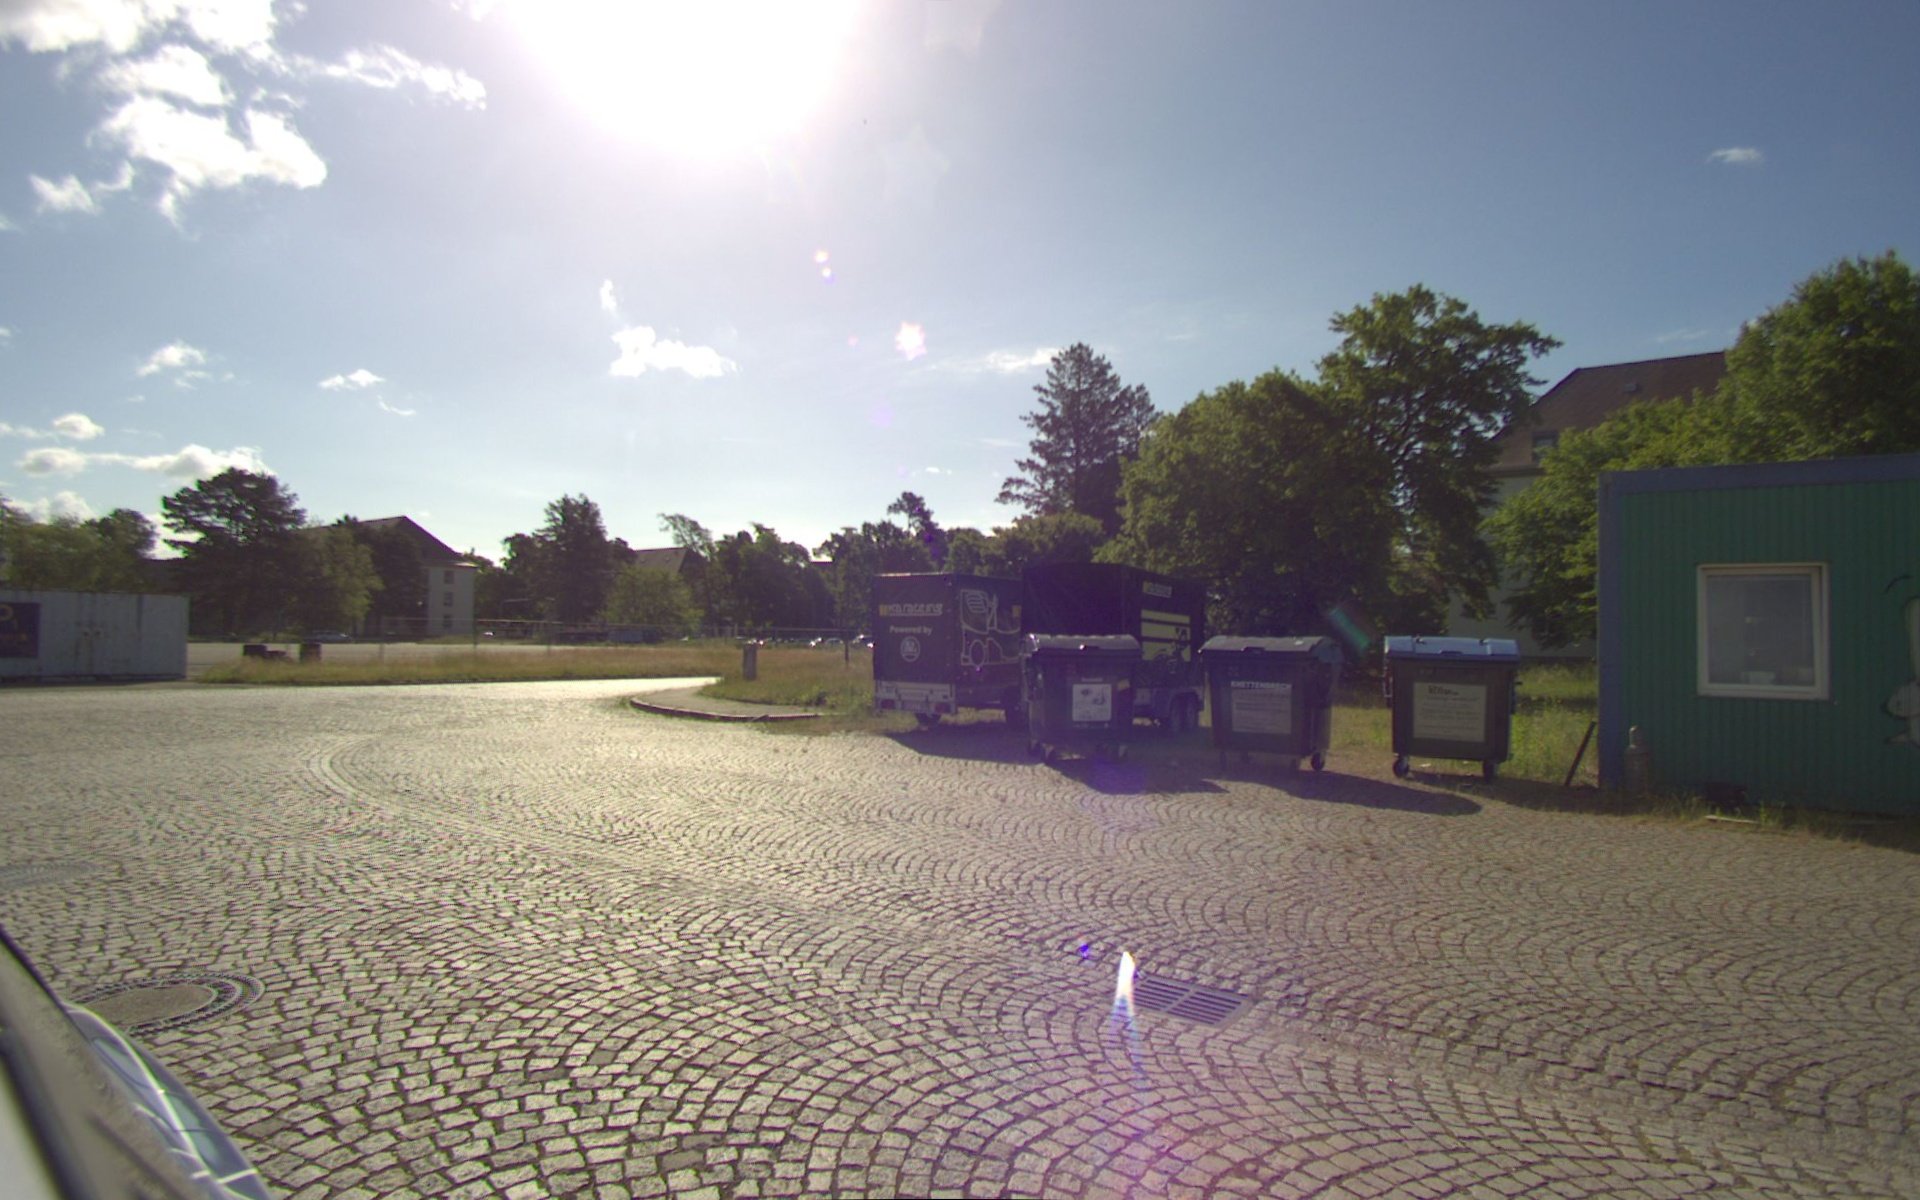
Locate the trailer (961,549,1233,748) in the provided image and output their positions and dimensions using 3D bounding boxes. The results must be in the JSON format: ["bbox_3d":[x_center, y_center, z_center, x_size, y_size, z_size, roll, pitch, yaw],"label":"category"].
[{"bbox_3d":[2.206,0.694,14.740,2.089,2.373,4.921,-1,-3,32],"label":"trailer"}]

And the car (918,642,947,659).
[{"bbox_3d":[-3.403,6.259,125.493,1.739,2.029,3.577,-1,-3,35],"label":"car"}]

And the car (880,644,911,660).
[{"bbox_3d":[-8.244,6.658,130.282,1.995,2.029,3.954,-1,-3,34],"label":"car"}]

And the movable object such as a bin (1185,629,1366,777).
[{"bbox_3d":[3.395,1.043,10.878,1.533,1.433,1.284,-1,-3,37],"label":"movable object such as a bin"}]

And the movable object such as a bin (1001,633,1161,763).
[{"bbox_3d":[1.352,1.095,11.691,1.511,1.397,1.388,1,-3,-8],"label":"movable object such as a bin"}]

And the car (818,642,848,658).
[{"bbox_3d":[-16.965,6.653,135.337,1.740,2.029,3.803,-1,-3,37],"label":"car"}]

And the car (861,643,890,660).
[{"bbox_3d":[-10.882,6.625,130.492,1.739,2.029,3.806,-1,-3,35],"label":"car"}]

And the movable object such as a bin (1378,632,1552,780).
[{"bbox_3d":[5.231,1.048,10.628,1.526,1.397,1.375,0,-3,24],"label":"movable object such as a bin"}]

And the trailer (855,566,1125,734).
[{"bbox_3d":[0.650,0.796,16.430,2.133,2.315,4.612,-1,-3,37],"label":"trailer"}]

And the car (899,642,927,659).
[{"bbox_3d":[-5.849,6.368,126.880,1.739,2.029,3.577,-1,-3,35],"label":"car"}]

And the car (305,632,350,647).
[{"bbox_3d":[-73.263,4.568,117.294,1.993,1.594,3.957,-1,-3,31],"label":"car"}]
